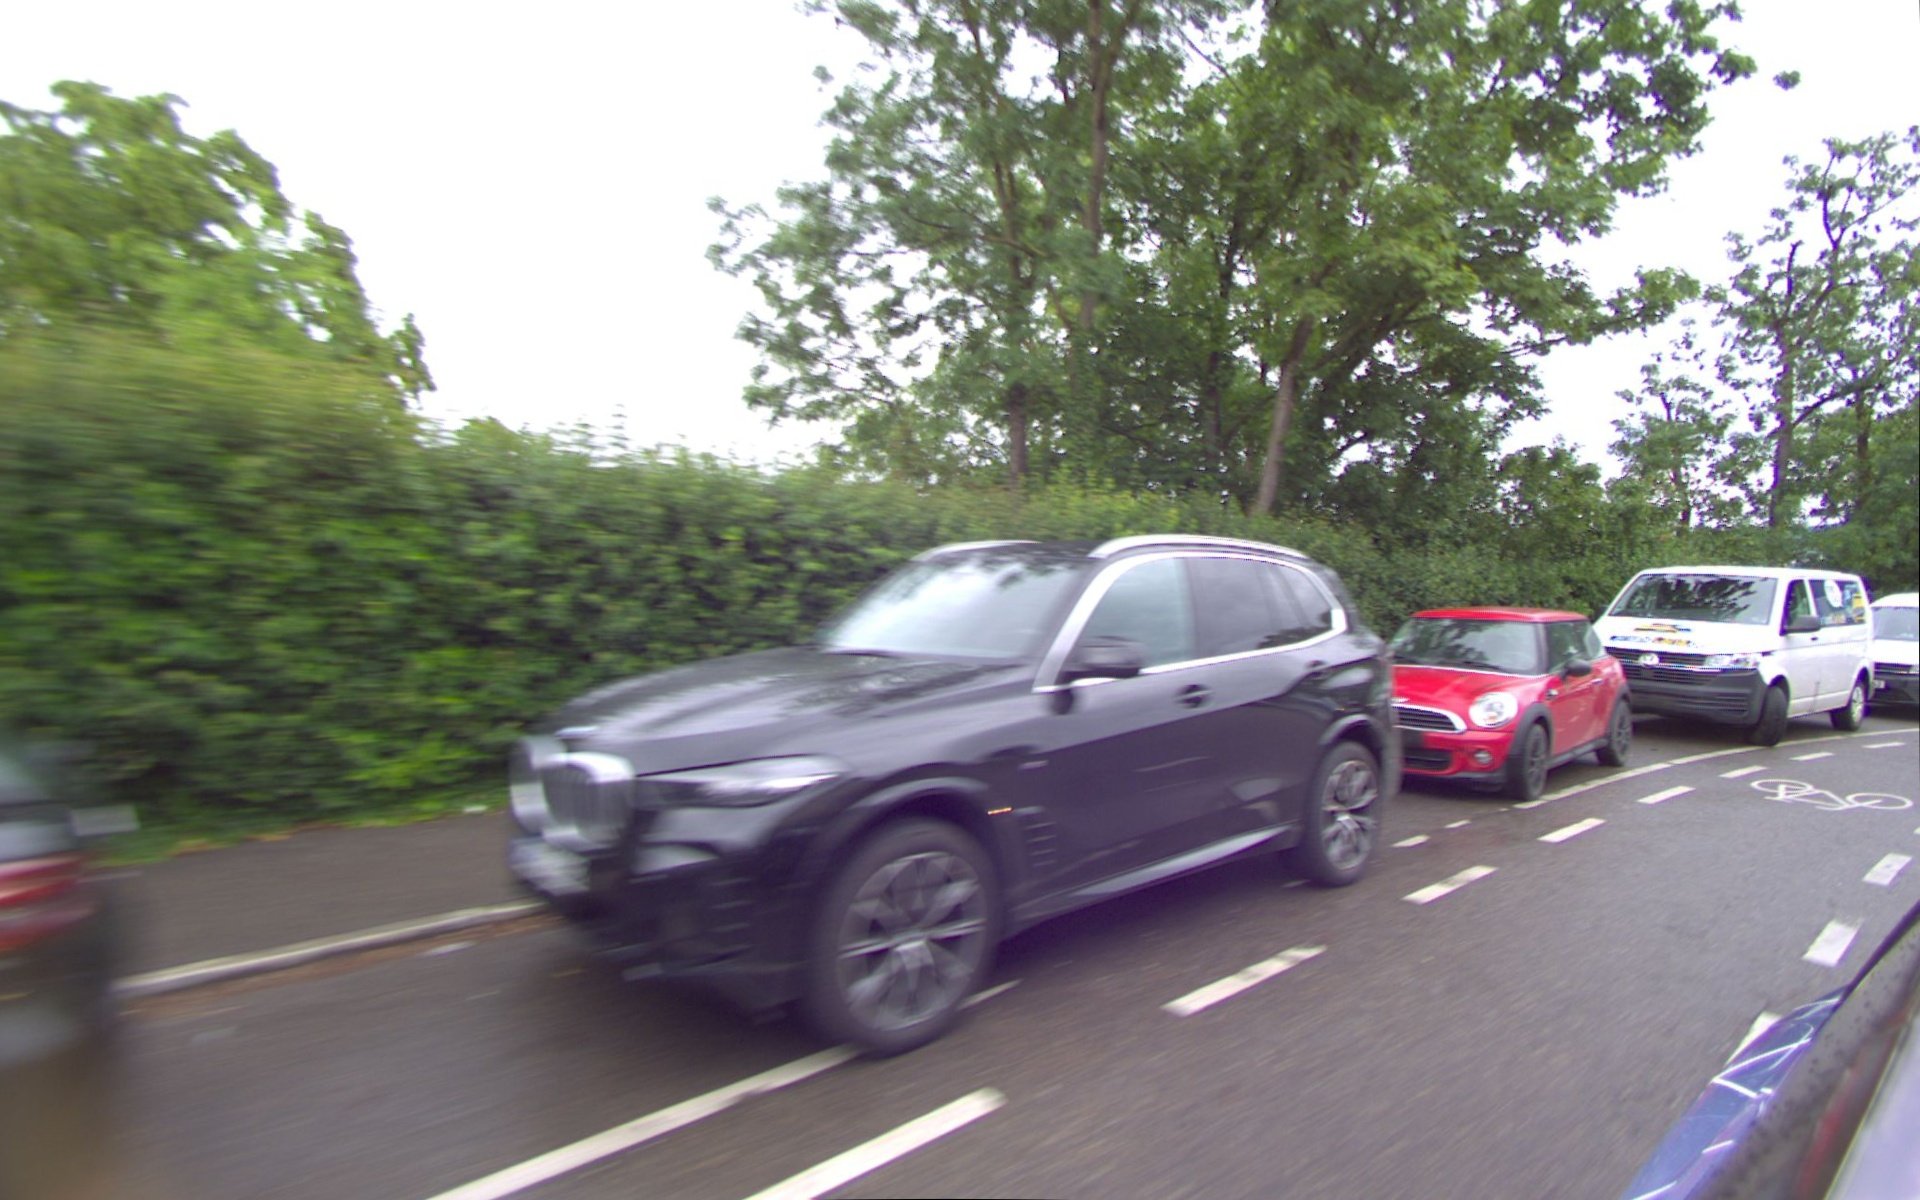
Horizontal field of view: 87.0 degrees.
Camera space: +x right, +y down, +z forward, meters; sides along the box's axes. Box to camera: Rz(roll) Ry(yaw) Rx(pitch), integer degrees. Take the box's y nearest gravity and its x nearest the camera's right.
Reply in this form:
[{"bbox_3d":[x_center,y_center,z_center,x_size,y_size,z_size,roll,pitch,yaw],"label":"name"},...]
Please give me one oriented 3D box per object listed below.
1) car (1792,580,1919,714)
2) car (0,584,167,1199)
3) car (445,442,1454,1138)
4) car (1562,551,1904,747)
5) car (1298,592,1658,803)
[{"bbox_3d":[14.617,0.667,15.007,4.288,1.793,1.869,1,0,-26],"label":"car"},{"bbox_3d":[-3.387,0.704,1.112,3.913,1.440,1.691,-1,1,-41],"label":"car"},{"bbox_3d":[0.358,0.498,4.990,4.813,1.805,2.030,1,0,-41],"label":"car"},{"bbox_3d":[9.501,0.488,12.320,4.715,1.972,1.867,1,2,-34],"label":"car"},{"bbox_3d":[4.671,0.686,8.906,3.679,1.431,1.673,1,1,-43],"label":"car"}]
